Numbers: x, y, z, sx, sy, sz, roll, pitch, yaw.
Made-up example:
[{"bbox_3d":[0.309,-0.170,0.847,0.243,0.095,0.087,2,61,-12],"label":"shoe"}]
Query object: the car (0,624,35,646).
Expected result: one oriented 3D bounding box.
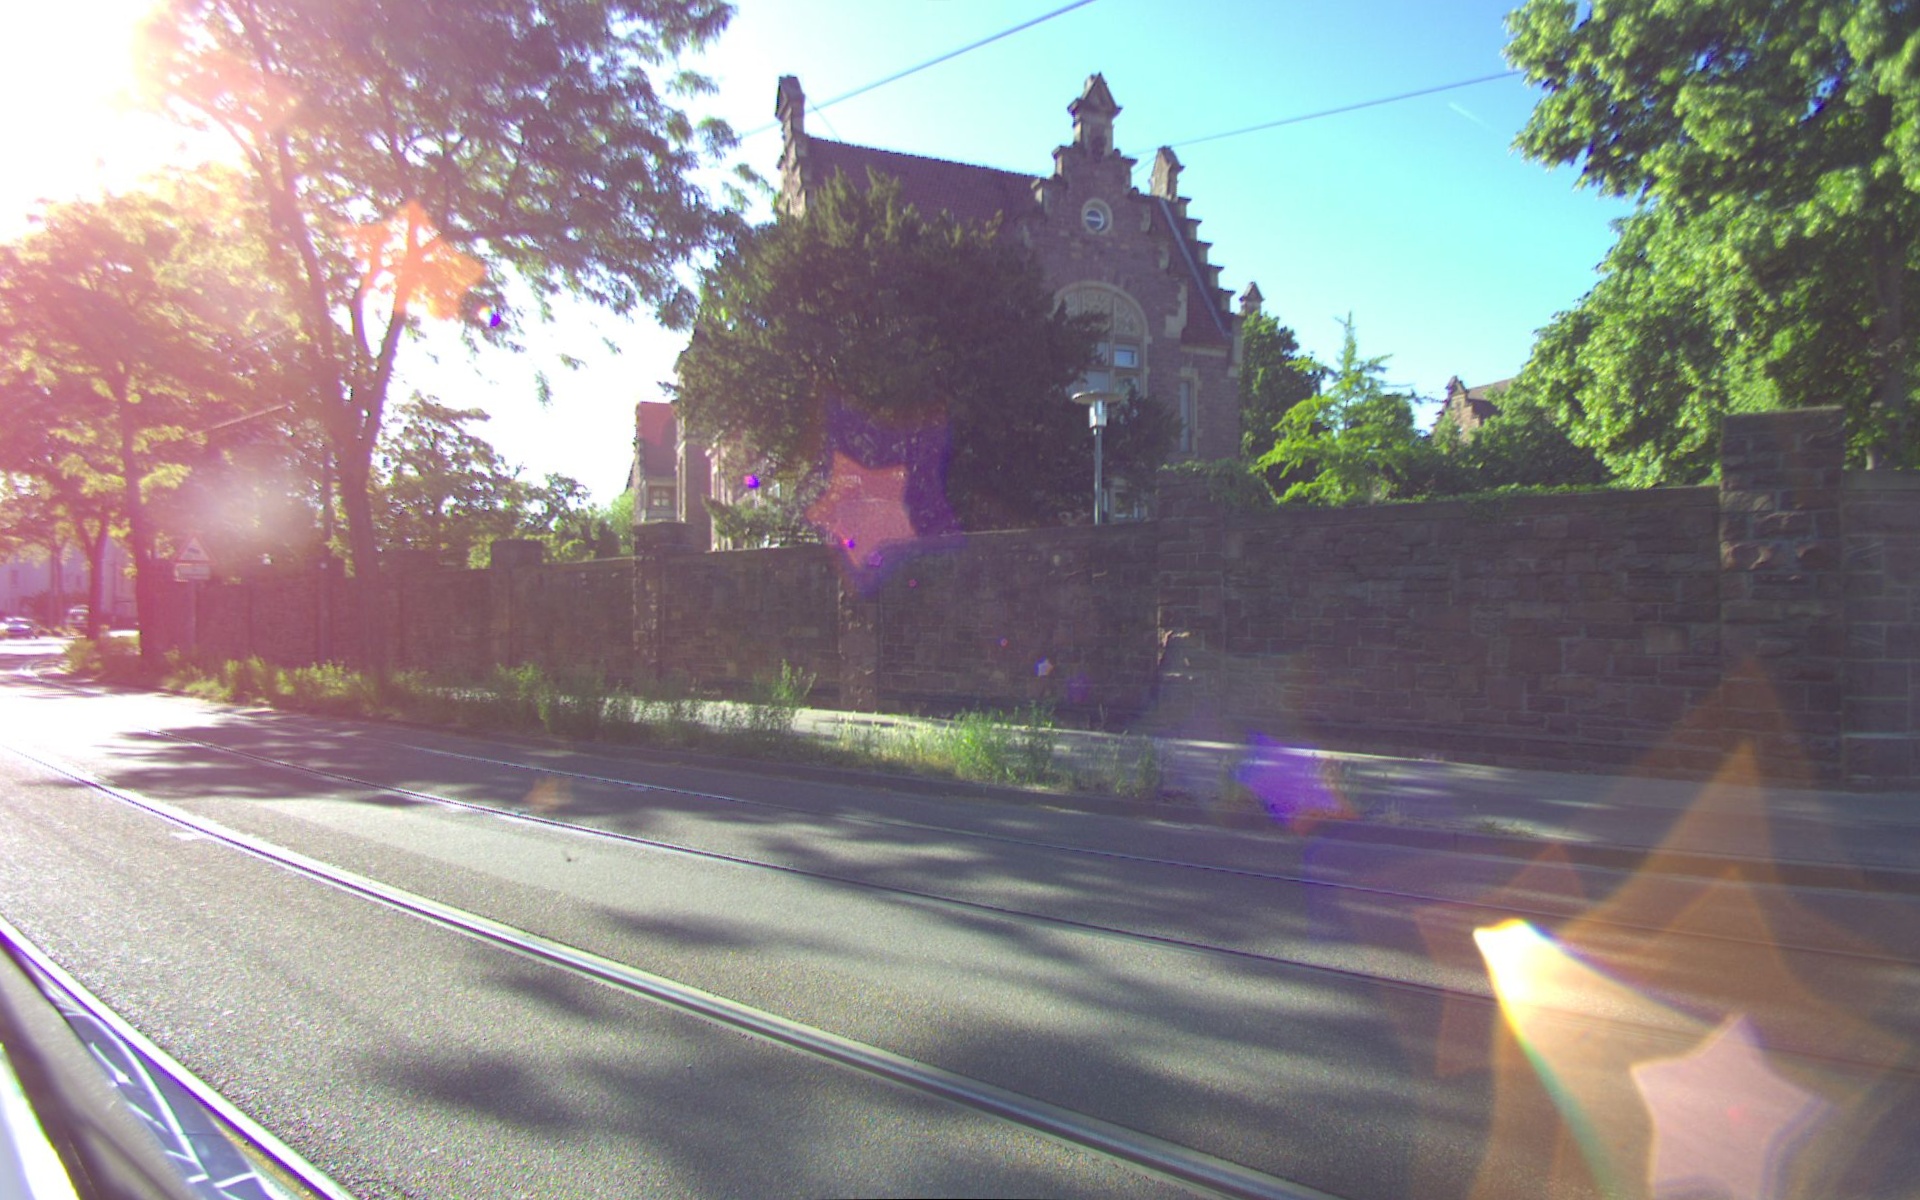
[{"bbox_3d":[-68.893,2.519,73.836,1.969,1.560,4.005,0,-1,-41],"label":"car"}]
